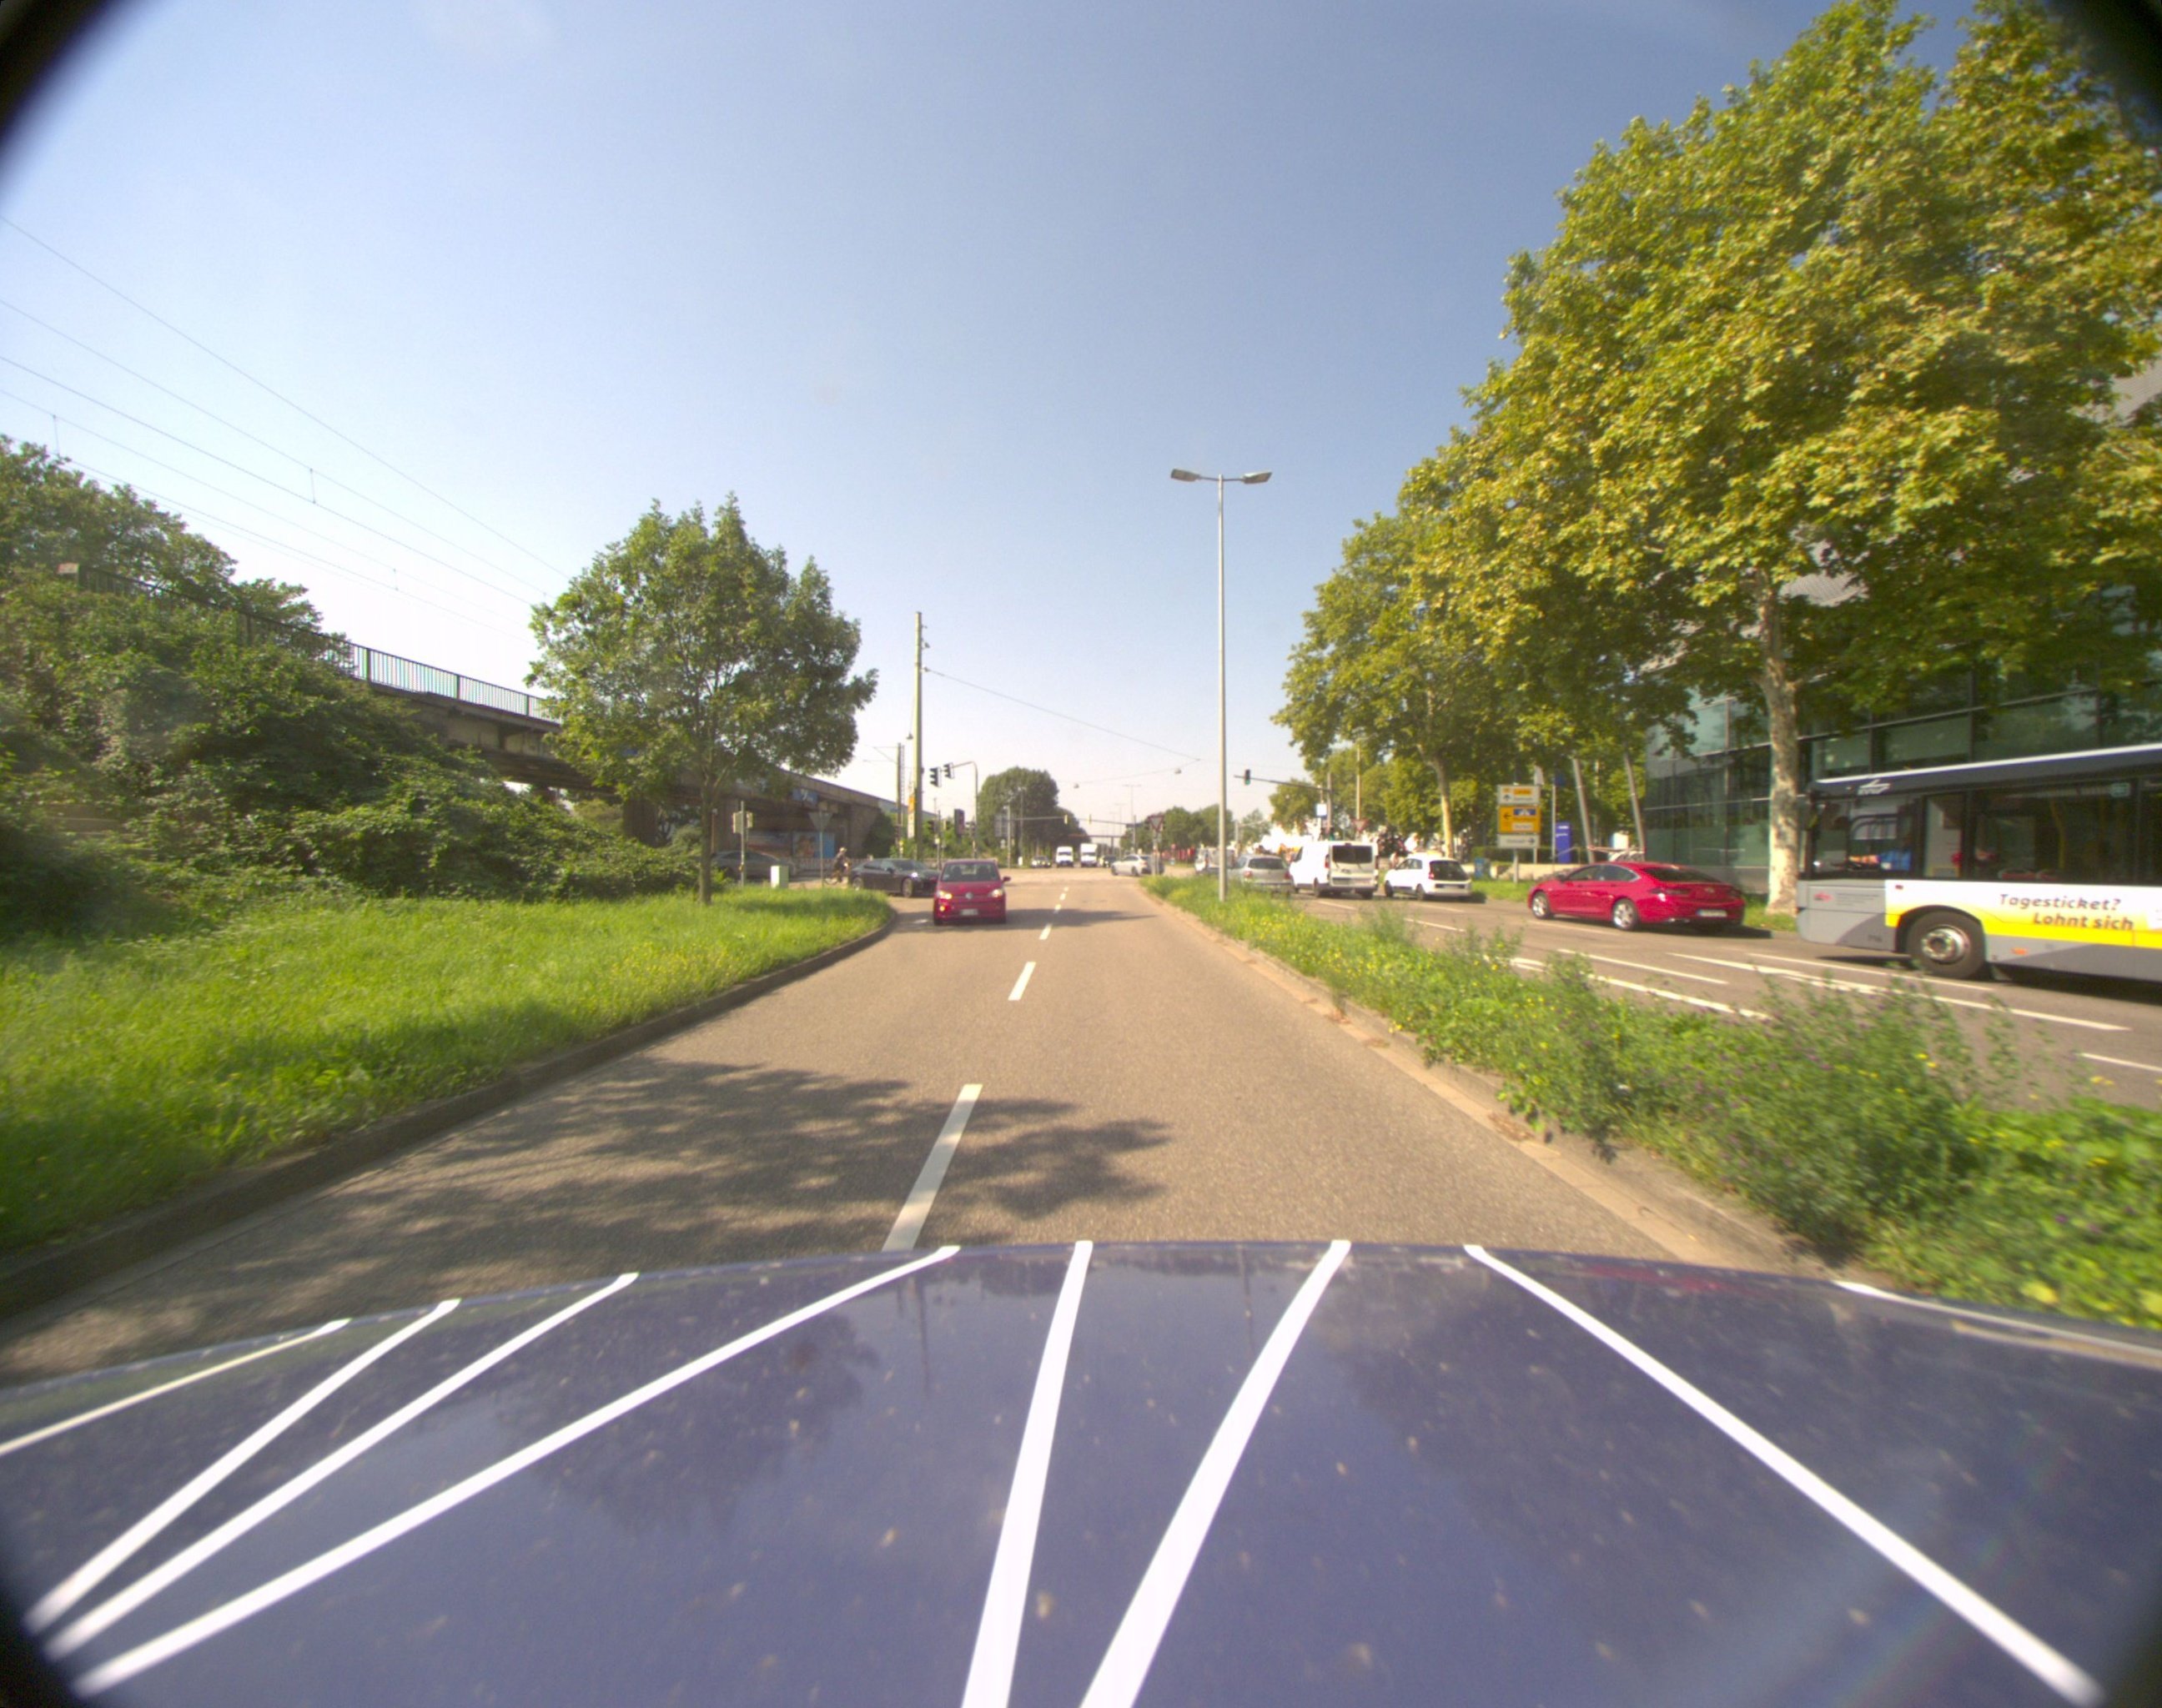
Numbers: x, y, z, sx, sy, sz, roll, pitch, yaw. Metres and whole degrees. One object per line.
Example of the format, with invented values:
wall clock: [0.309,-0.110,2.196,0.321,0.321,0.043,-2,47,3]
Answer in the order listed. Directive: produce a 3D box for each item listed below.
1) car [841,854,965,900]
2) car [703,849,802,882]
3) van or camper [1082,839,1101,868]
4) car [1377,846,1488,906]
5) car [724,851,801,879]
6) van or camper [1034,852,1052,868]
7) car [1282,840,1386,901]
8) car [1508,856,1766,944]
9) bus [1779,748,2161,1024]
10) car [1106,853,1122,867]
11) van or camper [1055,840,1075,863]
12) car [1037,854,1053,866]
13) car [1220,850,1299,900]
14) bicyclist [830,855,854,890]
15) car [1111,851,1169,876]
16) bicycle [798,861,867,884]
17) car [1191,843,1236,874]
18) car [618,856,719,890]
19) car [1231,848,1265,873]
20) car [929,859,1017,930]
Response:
car: [-6.841,0.797,28.933,4.872,1.455,2.004,2,2,38]
car: [-17.077,0.536,39.592,4.482,1.608,1.902,0,1,-33]
van or camper: [1.378,-0.018,98.152,2.247,3.341,6.854,-2,-2,2]
car: [12.155,0.691,26.601,1.932,1.885,3.975,2,1,-1]
car: [-17.974,0.577,42.948,3.703,1.529,1.722,0,1,-39]
van or camper: [-4.554,0.720,90.890,1.850,1.765,4.176,-2,-2,1]
car: [8.895,0.510,27.225,1.932,1.949,5.189,2,1,0]
car: [11.778,0.852,16.696,1.784,1.502,5.212,2,1,0]
bus: [11.863,0.363,5.924,2.668,2.679,10.904,2,1,0]
car: [4.279,0.797,98.873,1.904,1.603,5.198,-2,-2,2]
van or camper: [-1.921,-0.233,93.256,2.248,2.467,6.868,-2,-2,0]
car: [-4.575,0.740,97.400,1.999,1.543,3.999,-2,0,-1]
car: [6.006,0.676,25.996,1.618,1.526,4.101,2,-1,-1]
bicyclist: [-11.455,0.858,36.393,0.971,1.648,0.711,0,0,-26]
car: [3.746,0.603,49.315,1.844,1.434,4.596,2,0,-23]
bicycle: [-11.835,0.862,36.224,2.982,1.043,1.232,0,0,-26]
car: [8.666,0.293,50.074,1.932,1.946,5.212,0,0,-1]
car: [-21.731,0.962,40.118,4.355,1.564,1.995,-2,1,-39]
car: [12.053,0.446,54.937,1.671,1.527,3.729,1,3,2]
car: [-2.486,0.888,18.221,1.643,1.458,3.553,-3,0,-2]
